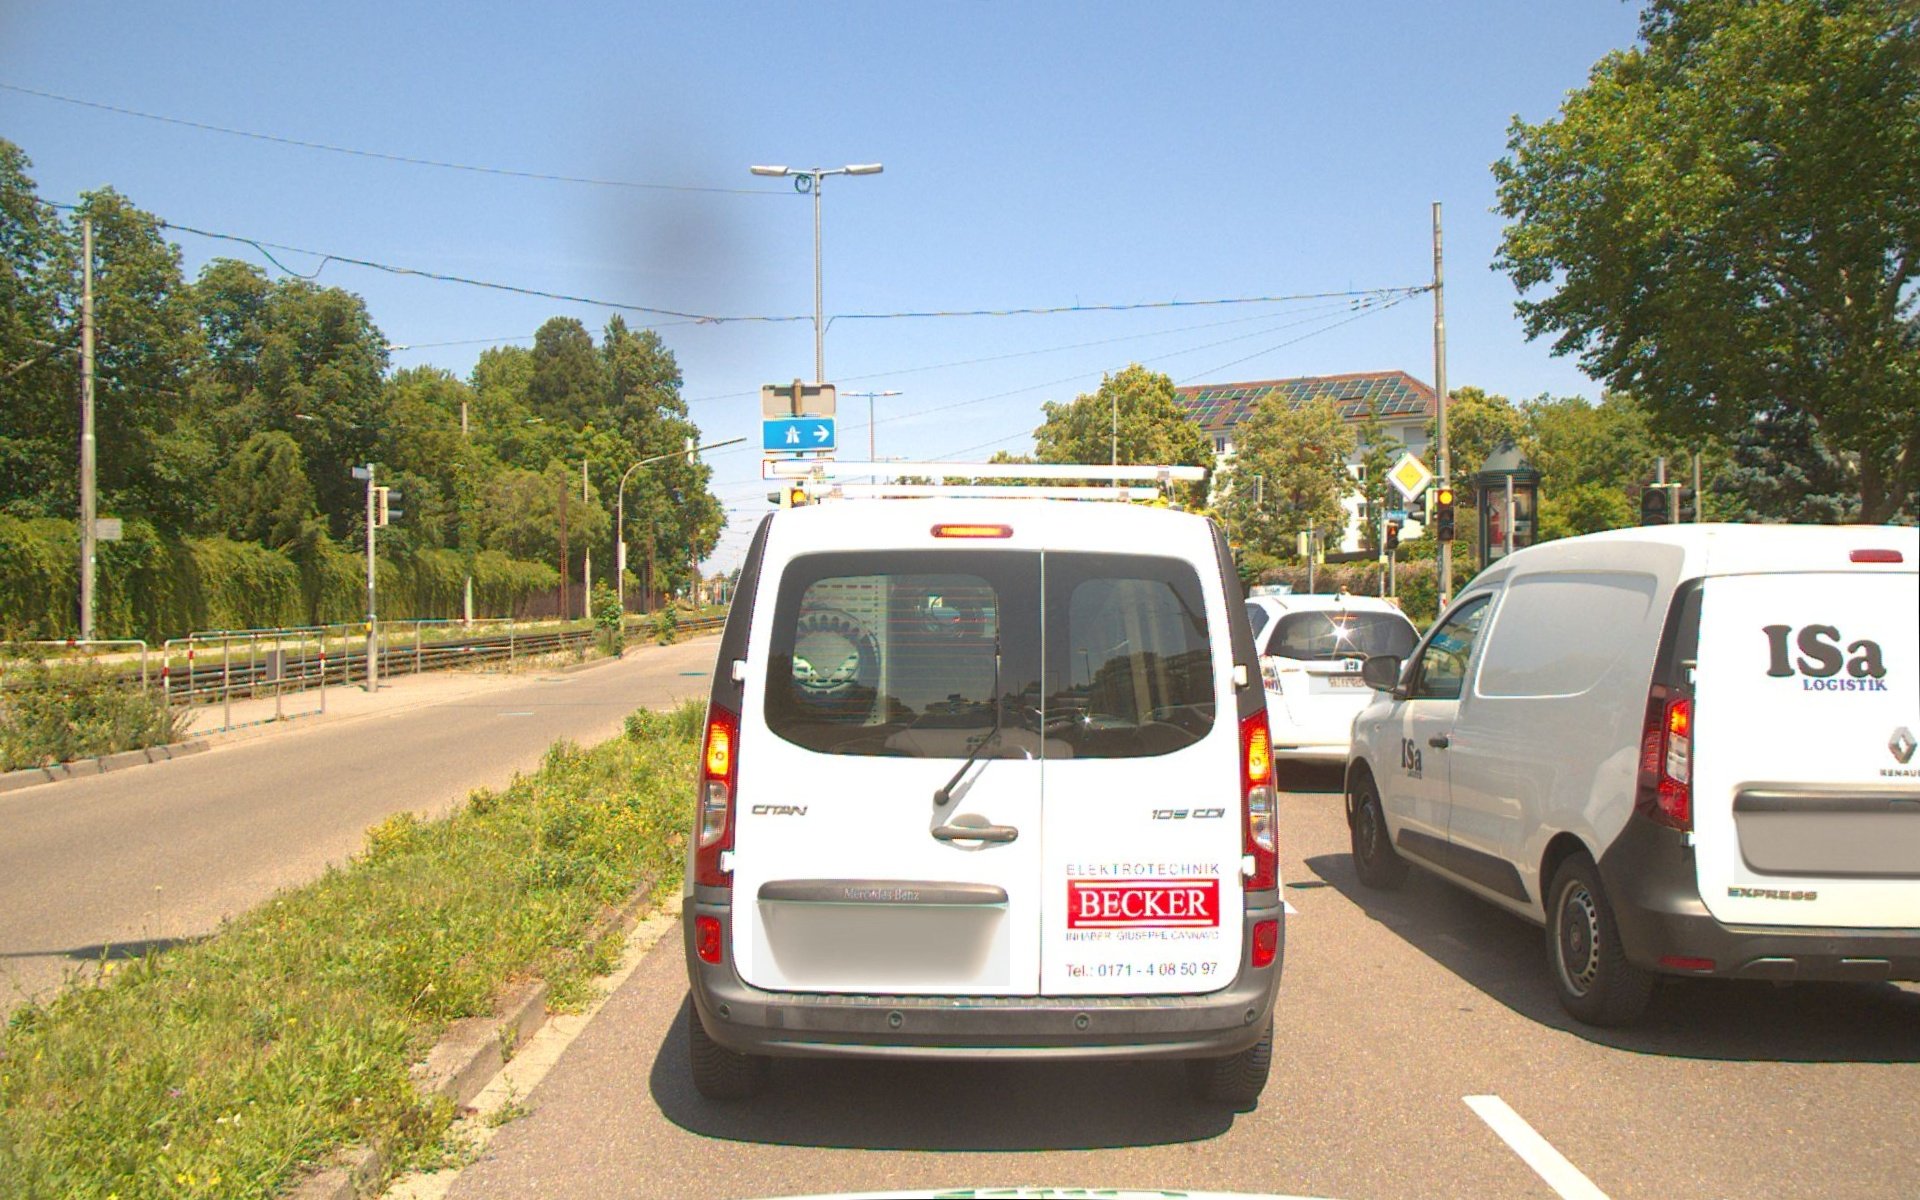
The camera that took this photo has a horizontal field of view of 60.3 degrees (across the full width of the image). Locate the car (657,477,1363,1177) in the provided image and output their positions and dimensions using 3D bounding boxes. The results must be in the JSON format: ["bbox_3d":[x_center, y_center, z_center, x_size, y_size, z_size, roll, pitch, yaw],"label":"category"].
[{"bbox_3d":[0.101,0.582,6.413,1.784,1.770,4.395,1,0,-1],"label":"car"}]

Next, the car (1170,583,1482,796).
[{"bbox_3d":[3.050,0.662,14.629,1.798,1.596,3.999,1,1,-1],"label":"car"}]

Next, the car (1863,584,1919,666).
[{"bbox_3d":[19.609,0.468,31.480,3.902,1.546,1.754,0,-1,12],"label":"car"}]

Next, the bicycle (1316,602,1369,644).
[{"bbox_3d":[11.014,0.641,47.686,0.875,1.179,1.953,0,0,-8],"label":"bicycle"}]

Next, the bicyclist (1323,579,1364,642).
[{"bbox_3d":[11.053,0.298,47.667,0.955,1.819,0.725,0,0,-8],"label":"bicyclist"}]

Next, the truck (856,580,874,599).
[{"bbox_3d":[-13.278,-1.437,231.401,2.095,2.633,5.888,1,0,-1],"label":"truck"}]

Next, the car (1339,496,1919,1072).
[{"bbox_3d":[3.052,0.594,7.308,1.693,1.819,4.063,1,0,-2],"label":"car"}]

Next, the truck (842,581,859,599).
[{"bbox_3d":[-15.920,-1.447,239.961,2.095,2.633,5.888,1,0,-1],"label":"truck"}]
